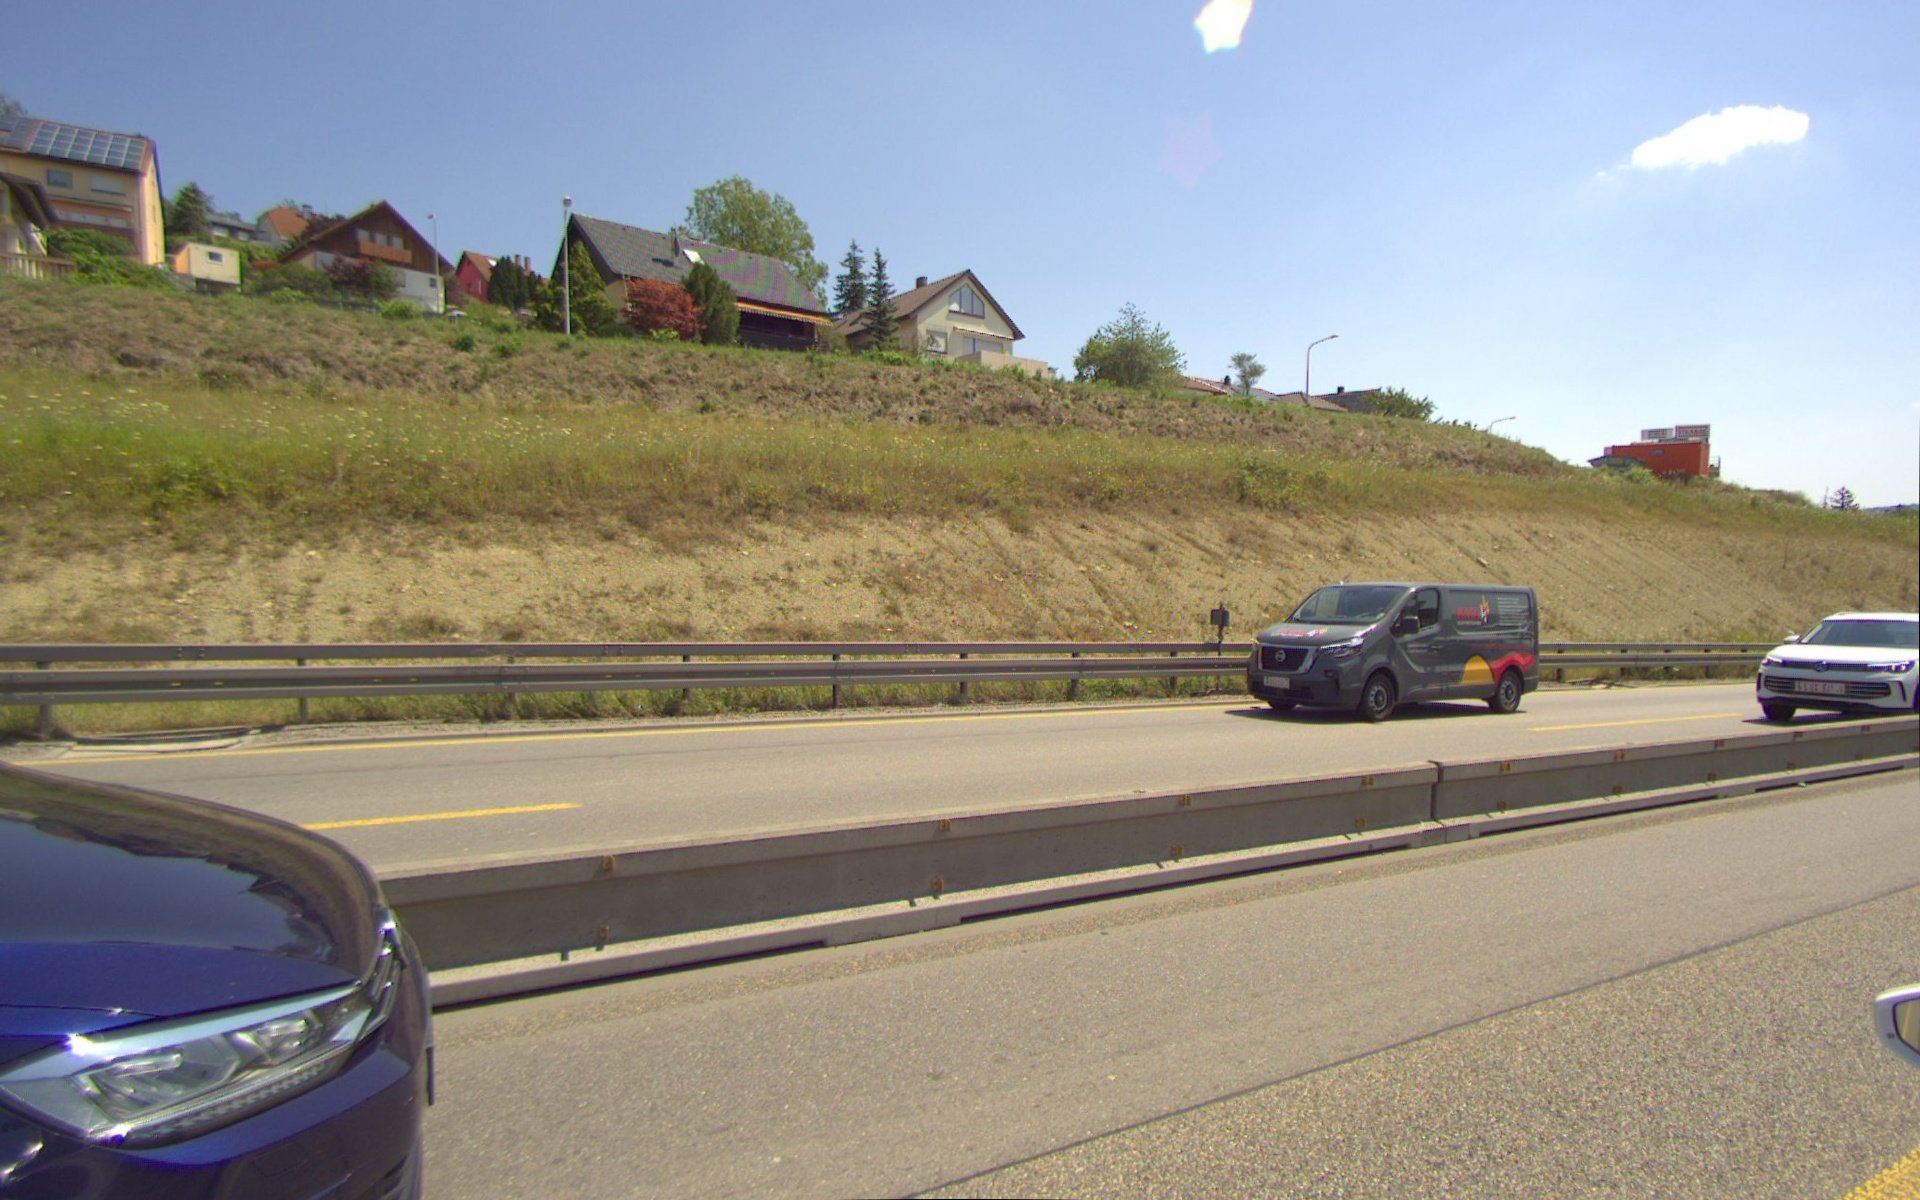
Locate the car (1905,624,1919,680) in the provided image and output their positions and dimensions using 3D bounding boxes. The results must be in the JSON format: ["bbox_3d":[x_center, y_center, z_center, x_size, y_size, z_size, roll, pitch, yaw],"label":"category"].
[{"bbox_3d":[26.717,1.373,26.355,4.192,1.437,1.702,1,0,-30],"label":"car"}]

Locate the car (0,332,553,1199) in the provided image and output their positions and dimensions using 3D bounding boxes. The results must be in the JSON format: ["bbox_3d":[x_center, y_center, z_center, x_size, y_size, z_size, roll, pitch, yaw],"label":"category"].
[{"bbox_3d":[-3.073,0.514,1.235,4.597,1.741,1.767,0,1,-30],"label":"car"}]

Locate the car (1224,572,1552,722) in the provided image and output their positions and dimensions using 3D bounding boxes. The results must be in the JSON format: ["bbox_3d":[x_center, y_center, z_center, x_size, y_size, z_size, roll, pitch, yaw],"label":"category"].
[{"bbox_3d":[6.567,0.660,15.250,5.063,1.952,2.028,1,-1,-31],"label":"car"}]

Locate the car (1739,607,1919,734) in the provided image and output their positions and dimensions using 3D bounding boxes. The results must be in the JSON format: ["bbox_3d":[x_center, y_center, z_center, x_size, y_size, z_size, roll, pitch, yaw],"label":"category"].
[{"bbox_3d":[14.267,0.983,15.440,5.309,1.676,1.830,1,-1,-31],"label":"car"}]
